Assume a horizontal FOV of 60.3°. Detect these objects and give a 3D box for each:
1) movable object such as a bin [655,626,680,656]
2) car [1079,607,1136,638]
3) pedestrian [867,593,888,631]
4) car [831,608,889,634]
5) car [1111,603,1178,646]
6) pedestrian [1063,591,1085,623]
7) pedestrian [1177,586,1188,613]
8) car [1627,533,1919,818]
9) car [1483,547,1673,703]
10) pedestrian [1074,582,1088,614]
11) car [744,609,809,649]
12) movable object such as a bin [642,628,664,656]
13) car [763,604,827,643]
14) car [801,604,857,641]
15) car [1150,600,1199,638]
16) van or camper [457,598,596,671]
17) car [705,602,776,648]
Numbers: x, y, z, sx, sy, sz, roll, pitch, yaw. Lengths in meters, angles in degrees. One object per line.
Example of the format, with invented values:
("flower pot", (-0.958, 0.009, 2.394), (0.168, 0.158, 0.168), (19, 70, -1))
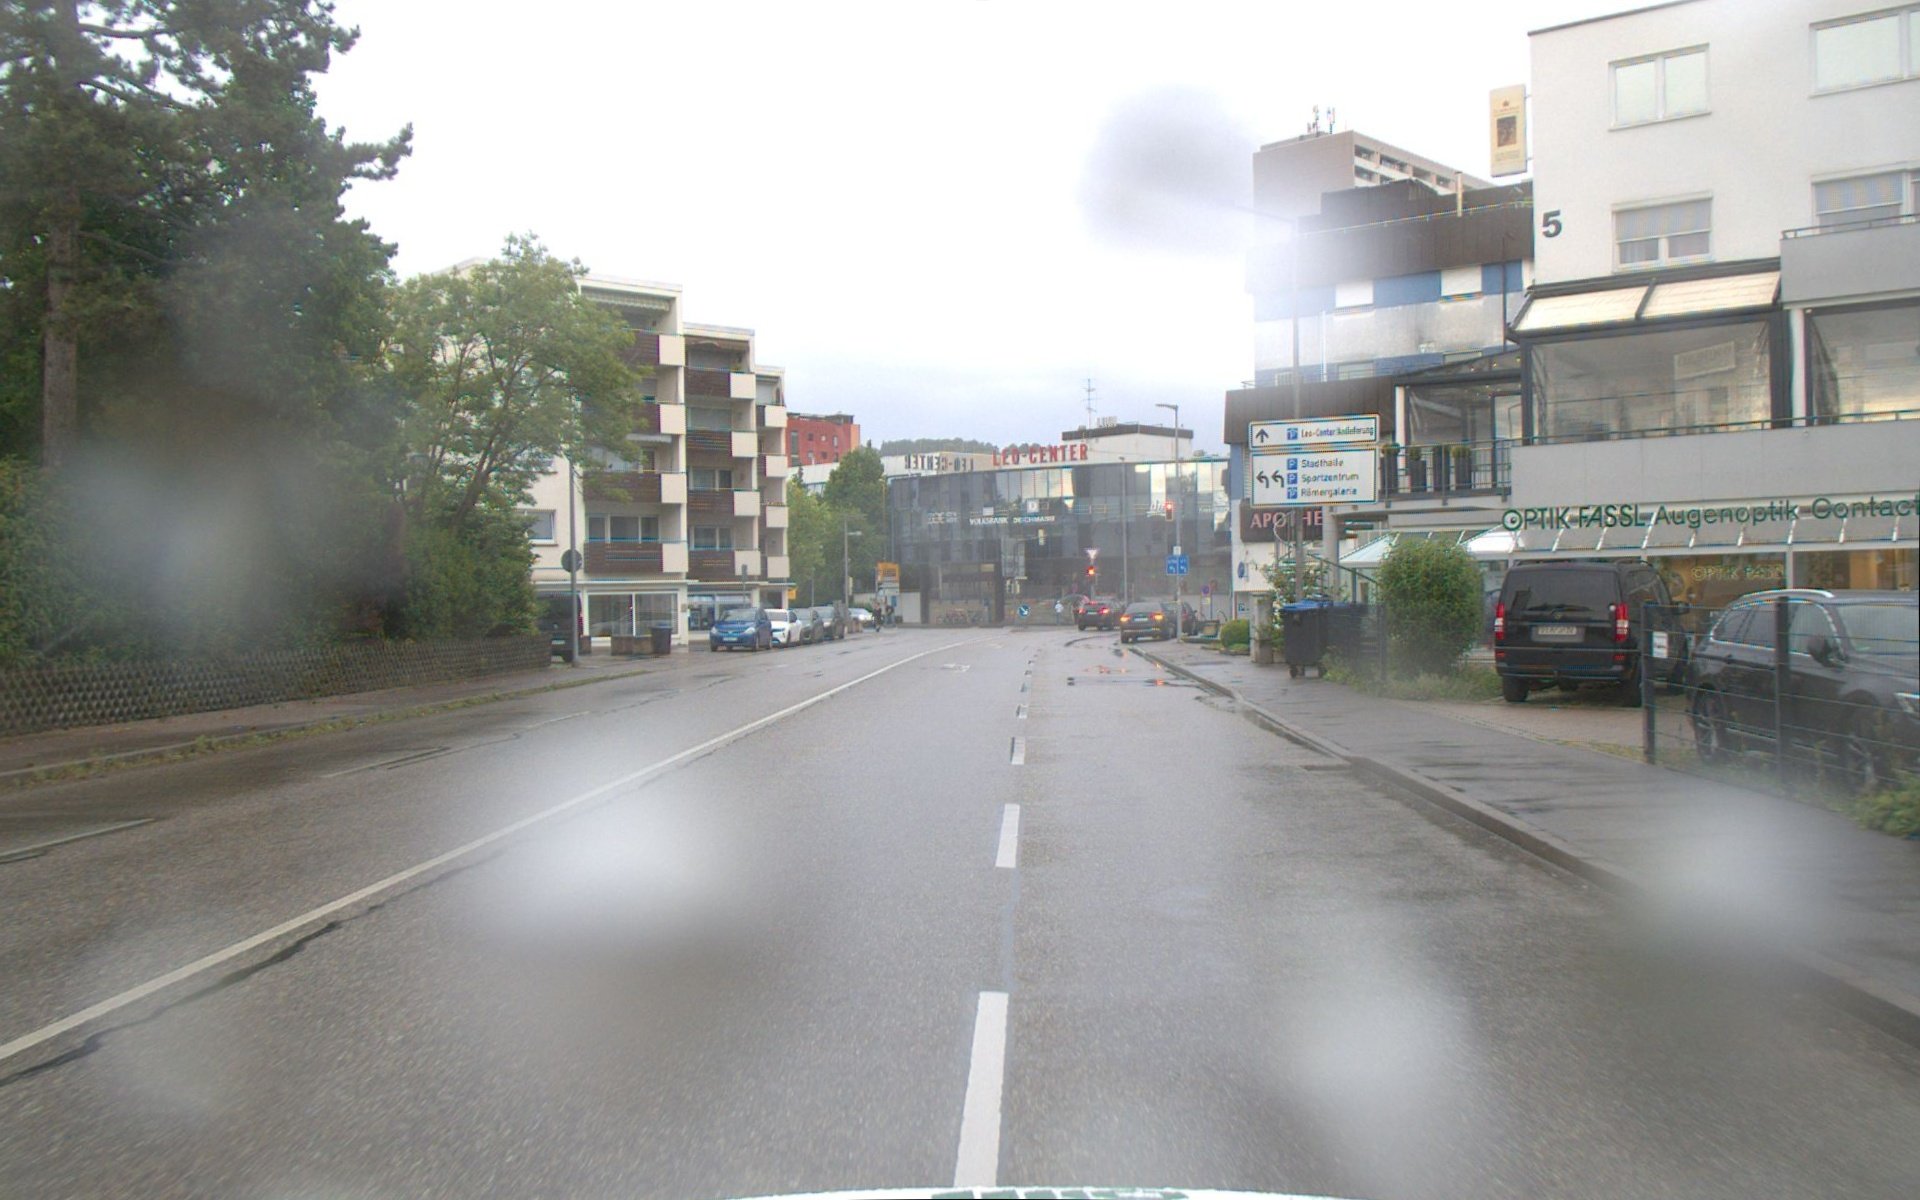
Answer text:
("movable object such as a bin", (-9.763, 1.372, 55.239), (0.634, 0.983, 0.683), (-2, 0, 4))
("car", (7.354, 1.088, 82.225), (1.767, 1.444, 4.000), (-1, 0, 22))
("pedestrian", (-4.571, 0.650, 91.342), (0.733, 2.049, 0.920), (3, 0, 25))
("car", (-6.776, 1.410, 111.735), (1.975, 1.538, 4.385), (2, 1, -32))
("car", (7.041, 0.940, 62.711), (1.951, 1.560, 4.650), (0, -1, 14))
("pedestrian", (6.158, 0.370, 89.128), (0.896, 1.688, 0.750), (2, 1, -23))
("pedestrian", (17.514, -0.030, 130.149), (0.771, 2.049, 0.671), (-2, -1, 15))
("car", (7.023, 0.454, 12.433), (1.953, 1.816, 4.689), (-1, 0, -2))
("car", (9.171, 0.316, 24.289), (1.955, 2.049, 4.772), (-1, 0, 28))
("pedestrian", (6.589, -0.099, 89.994), (0.597, 1.688, 0.672), (2, 1, -1))
("car", (-7.154, 1.108, 64.949), (1.657, 1.490, 4.687), (-1, 0, 5))
("movable object such as a bin", (-10.346, 1.398, 55.699), (0.562, 0.918, 0.598), (-2, 0, 4))
("car", (-6.930, 0.977, 70.087), (1.894, 1.569, 4.523), (-1, 0, 5))
("car", (-5.977, 1.010, 75.856), (1.894, 1.569, 4.275), (-1, 0, 5))
("car", (9.539, 0.809, 73.367), (1.662, 1.512, 4.003), (-4, -1, 13))
("van or camper", (-12.911, 0.975, 49.056), (1.982, 1.958, 5.142), (-2, 2, -40))
("car", (-7.802, 0.873, 59.110), (1.617, 1.547, 4.326), (-1, 0, 4))
